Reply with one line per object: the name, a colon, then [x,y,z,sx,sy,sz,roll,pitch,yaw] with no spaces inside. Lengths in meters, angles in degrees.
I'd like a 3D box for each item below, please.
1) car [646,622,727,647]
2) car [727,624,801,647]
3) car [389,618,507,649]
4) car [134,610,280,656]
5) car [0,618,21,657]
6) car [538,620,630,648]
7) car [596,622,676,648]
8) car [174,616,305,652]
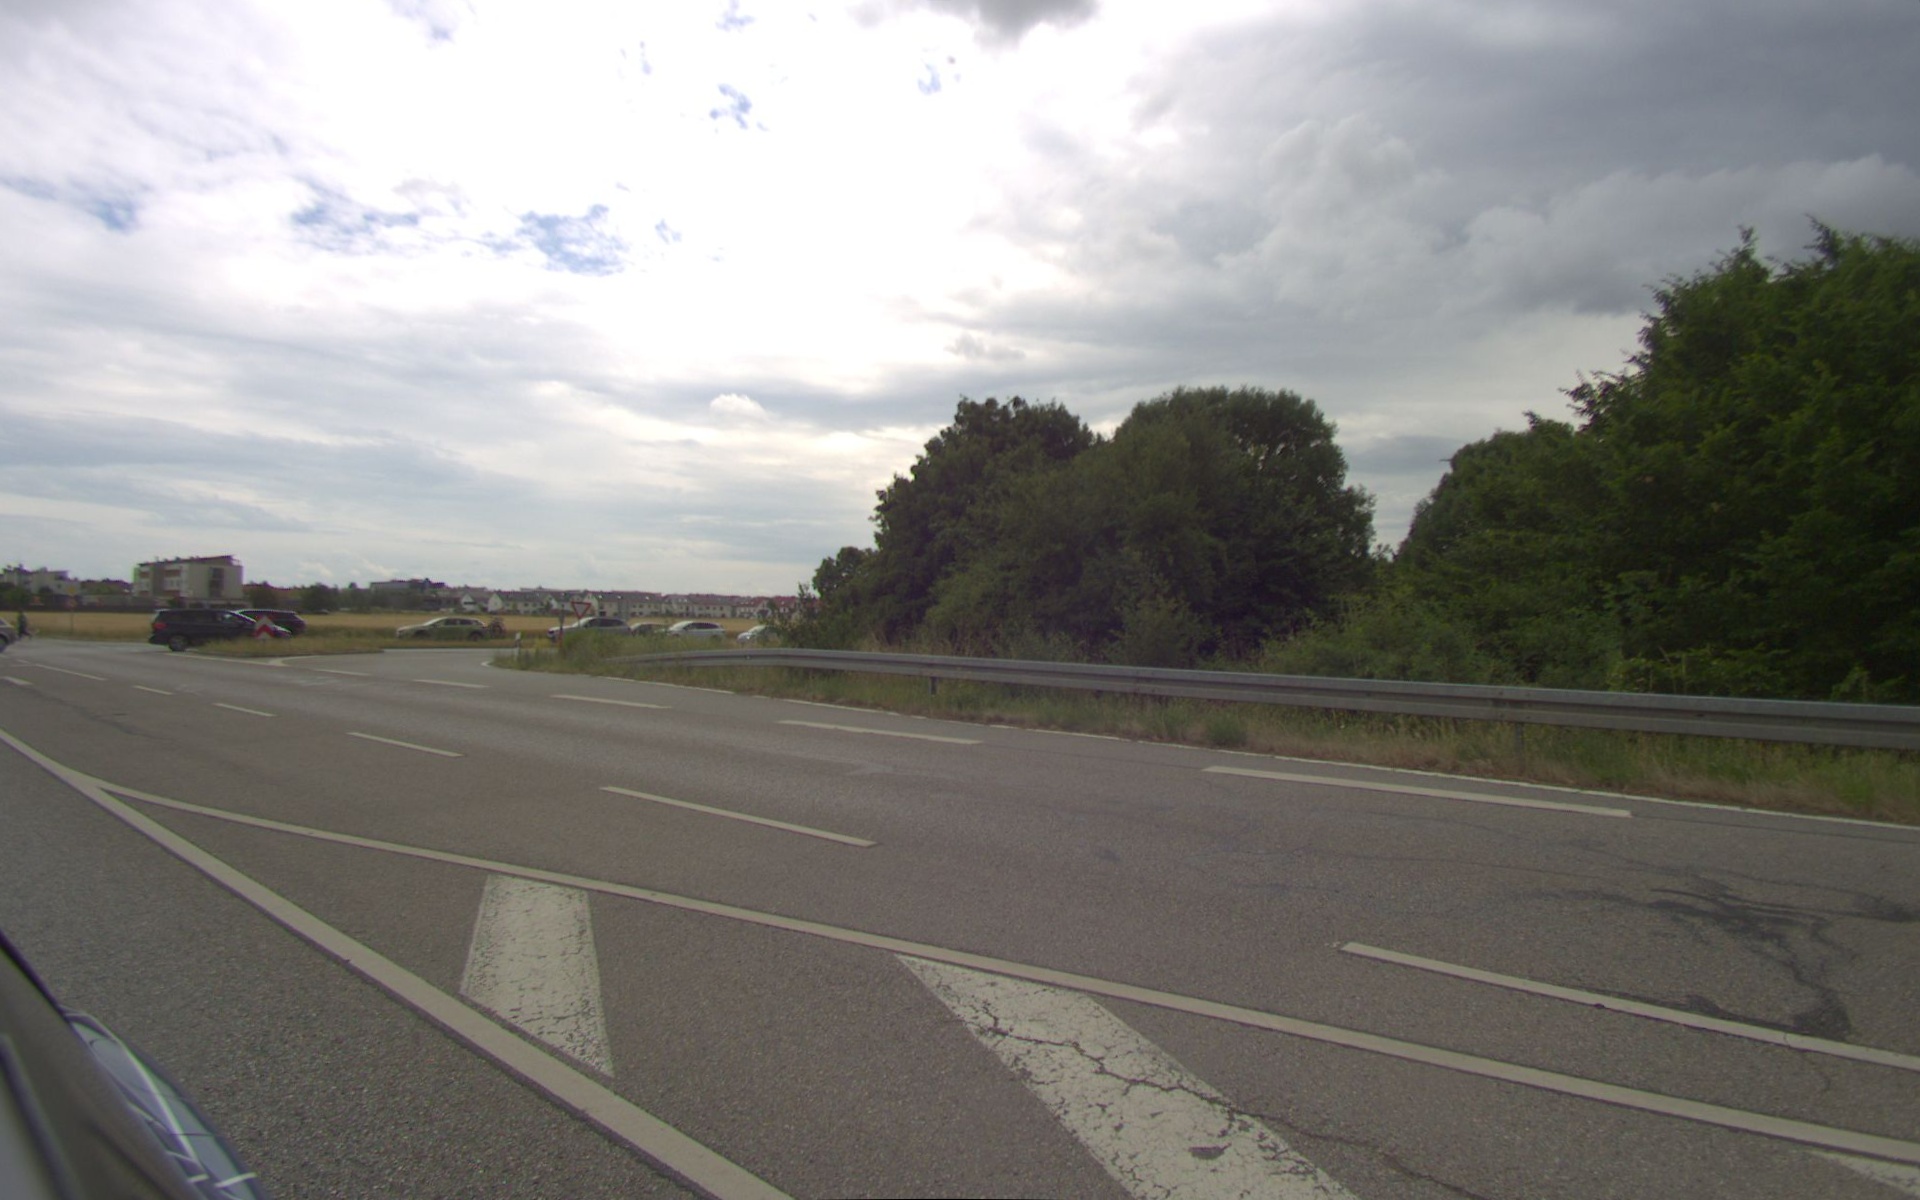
car: [-16.727,2.105,62.082,4.437,1.493,1.913,2,-2,-43]
car: [-12.822,2.314,66.401,4.437,1.493,1.913,2,-2,-43]
car: [-26.747,1.749,52.988,5.221,1.532,1.913,2,-2,-43]
car: [-28.887,1.227,38.972,4.408,1.623,1.712,0,0,-37]
car: [-36.894,1.350,36.334,1.889,1.435,4.454,0,-1,8]
car: [-21.470,1.934,57.895,4.568,1.528,1.913,2,-2,-43]
car: [-20.007,2.143,62.571,4.345,1.493,1.913,2,-2,-43]
car: [-32.927,1.542,46.346,4.683,1.543,1.913,2,-2,-43]
